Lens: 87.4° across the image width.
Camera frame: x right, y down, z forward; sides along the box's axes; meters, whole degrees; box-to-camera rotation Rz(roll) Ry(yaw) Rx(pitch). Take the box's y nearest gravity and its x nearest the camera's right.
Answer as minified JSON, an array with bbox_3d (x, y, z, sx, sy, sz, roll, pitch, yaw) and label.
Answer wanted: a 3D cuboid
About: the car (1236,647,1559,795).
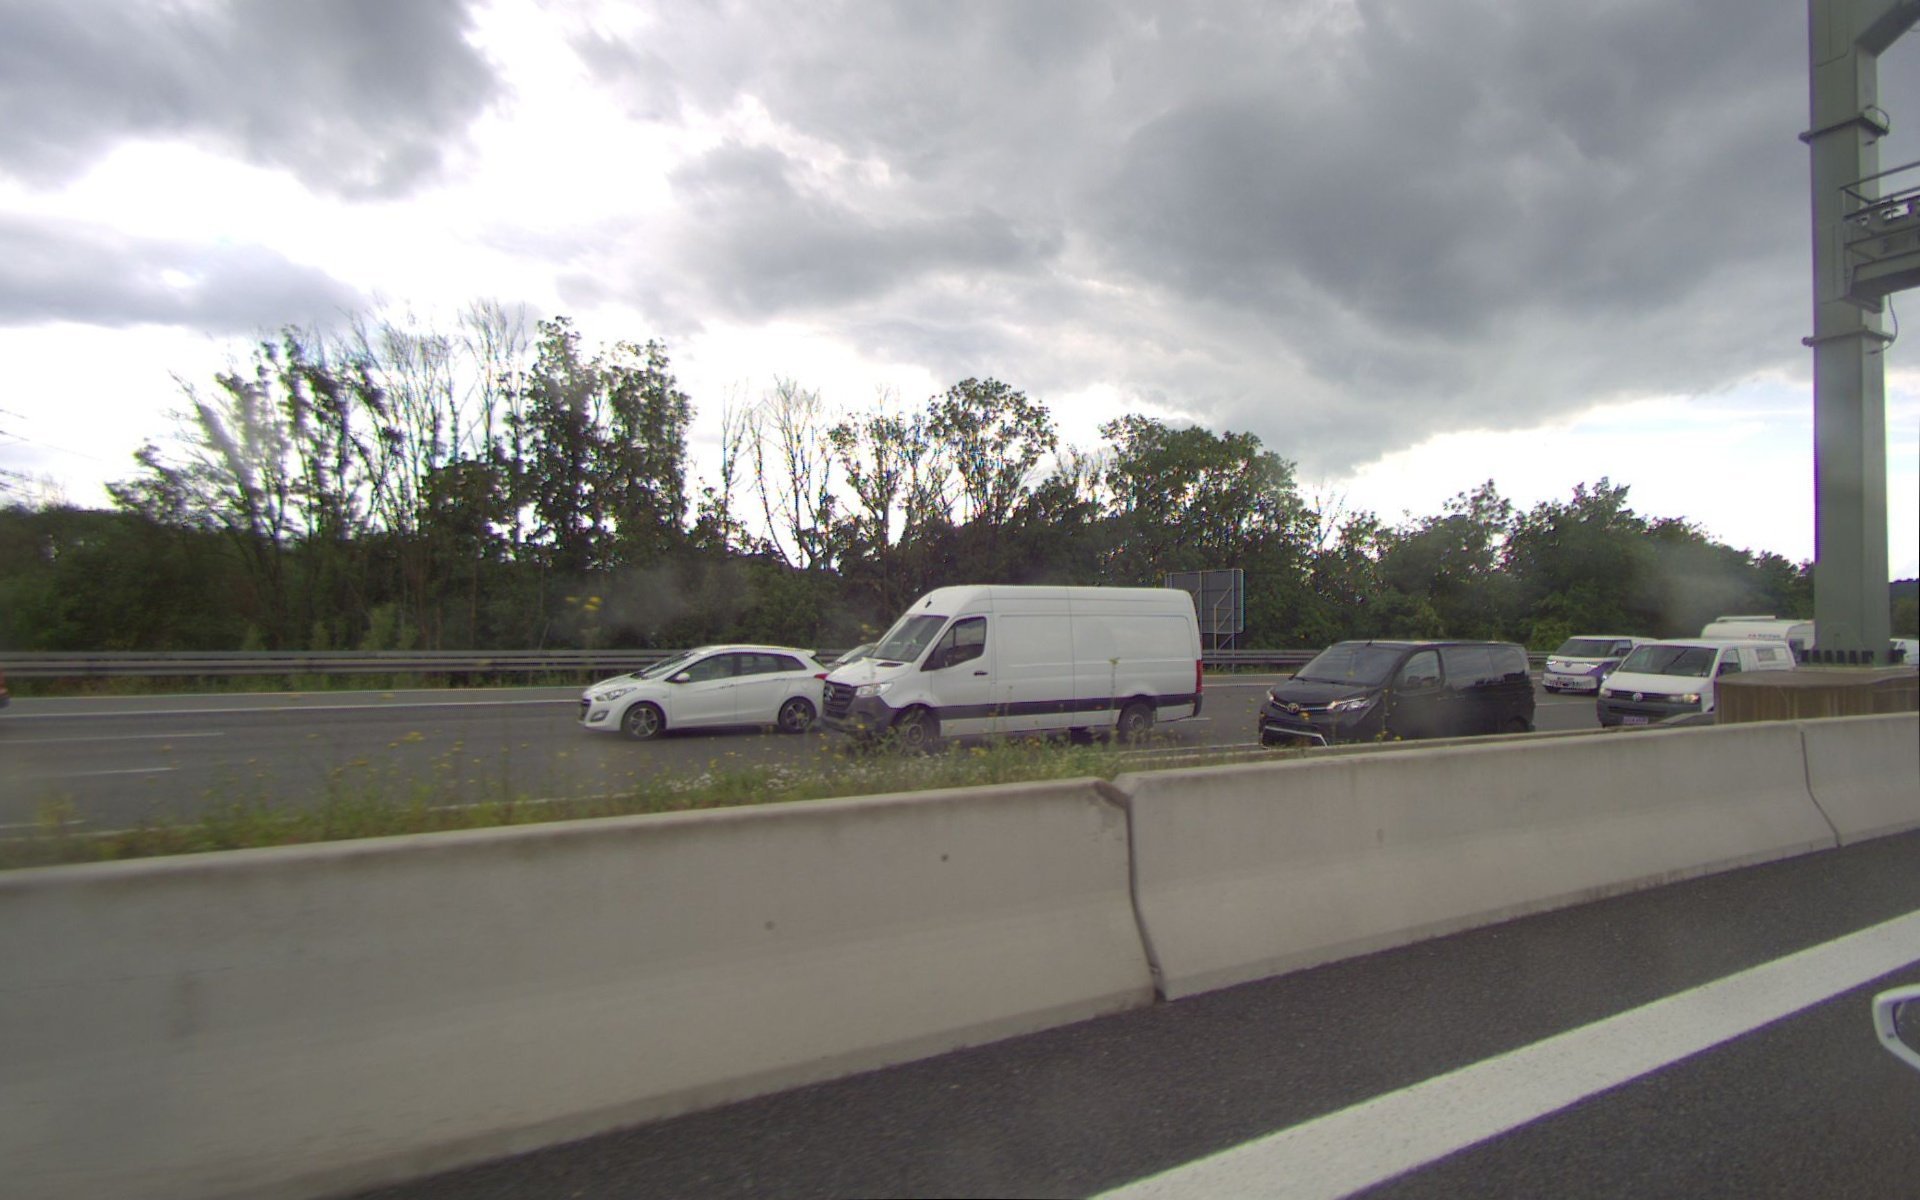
[{"bbox_3d":[6.866,1.723,15.538,5.361,1.929,1.809,2,-2,-30],"label":"car"}]

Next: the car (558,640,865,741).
[{"bbox_3d":[-4.283,1.497,17.573,4.856,1.514,1.973,2,-2,-30],"label":"car"}]

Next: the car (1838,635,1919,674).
[{"bbox_3d":[47.965,2.835,52.251,5.077,1.937,1.885,2,-2,-29],"label":"car"}]

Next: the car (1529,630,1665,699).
[{"bbox_3d":[20.808,2.057,32.770,4.426,2.105,1.973,2,-2,-30],"label":"car"}]

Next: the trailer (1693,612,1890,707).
[{"bbox_3d":[25.719,1.787,30.976,7.097,2.688,2.331,2,-2,-29],"label":"trailer"}]

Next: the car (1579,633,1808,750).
[{"bbox_3d":[14.950,1.757,20.385,5.312,2.105,1.809,2,-2,-30],"label":"car"}]

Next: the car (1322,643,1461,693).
[{"bbox_3d":[14.129,2.182,32.868,4.426,1.514,1.973,2,-2,-30],"label":"car"}]

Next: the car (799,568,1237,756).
[{"bbox_3d":[1.231,1.004,17.156,7.645,2.687,2.039,2,-2,-31],"label":"car"}]

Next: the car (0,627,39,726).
[{"bbox_3d":[-17.294,1.132,14.990,4.856,1.514,1.973,2,-2,-30],"label":"car"}]
